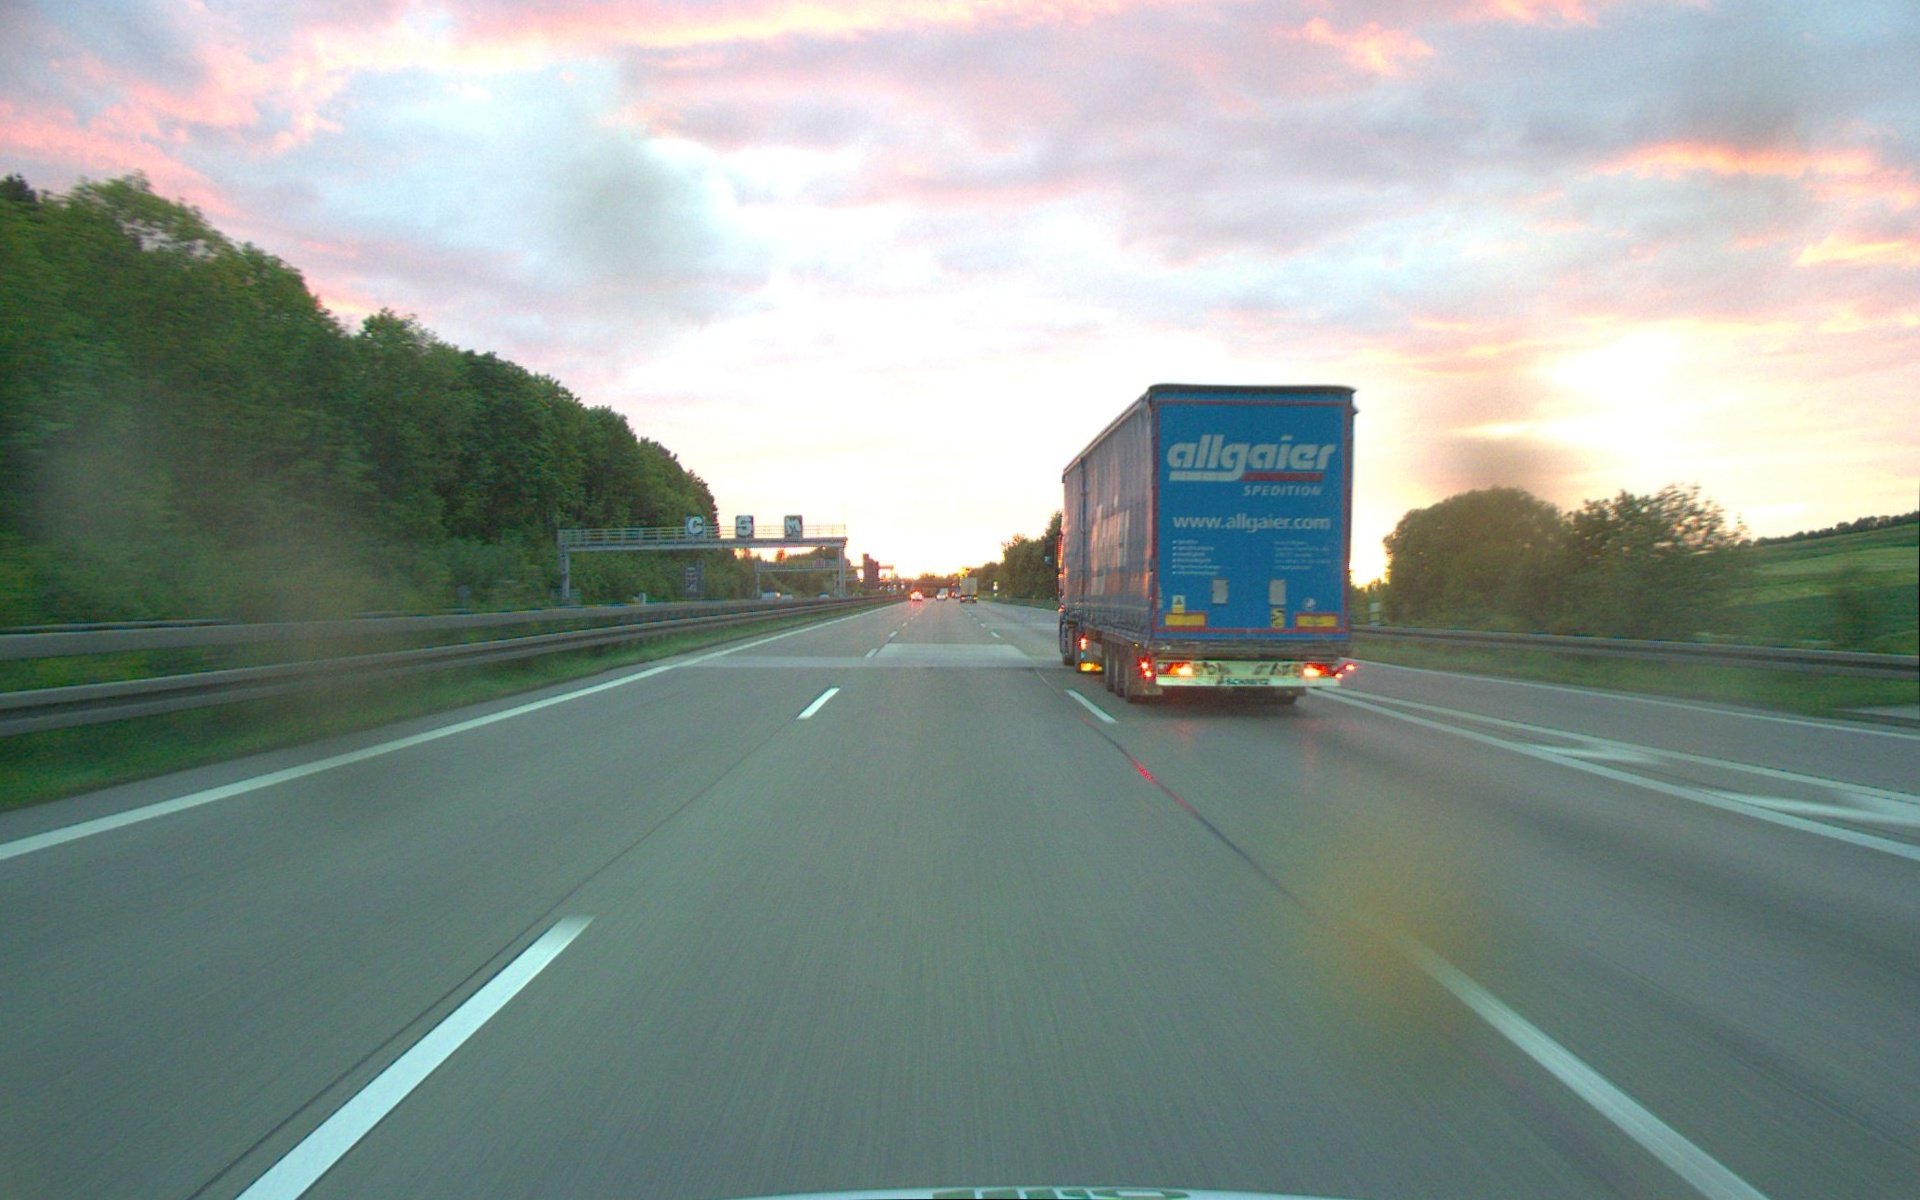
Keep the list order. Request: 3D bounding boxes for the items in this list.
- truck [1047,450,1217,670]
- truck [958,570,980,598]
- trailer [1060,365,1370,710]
[{"bbox_3d":[3.365,-0.748,33.722,2.681,4.066,5.847,1,0,-2],"label":"truck"},{"bbox_3d":[1.390,-2.484,255.689,3.178,4.199,9.786,-1,0,0],"label":"truck"},{"bbox_3d":[3.516,-0.763,26.968,2.715,4.158,13.736,1,0,-1],"label":"trailer"}]
